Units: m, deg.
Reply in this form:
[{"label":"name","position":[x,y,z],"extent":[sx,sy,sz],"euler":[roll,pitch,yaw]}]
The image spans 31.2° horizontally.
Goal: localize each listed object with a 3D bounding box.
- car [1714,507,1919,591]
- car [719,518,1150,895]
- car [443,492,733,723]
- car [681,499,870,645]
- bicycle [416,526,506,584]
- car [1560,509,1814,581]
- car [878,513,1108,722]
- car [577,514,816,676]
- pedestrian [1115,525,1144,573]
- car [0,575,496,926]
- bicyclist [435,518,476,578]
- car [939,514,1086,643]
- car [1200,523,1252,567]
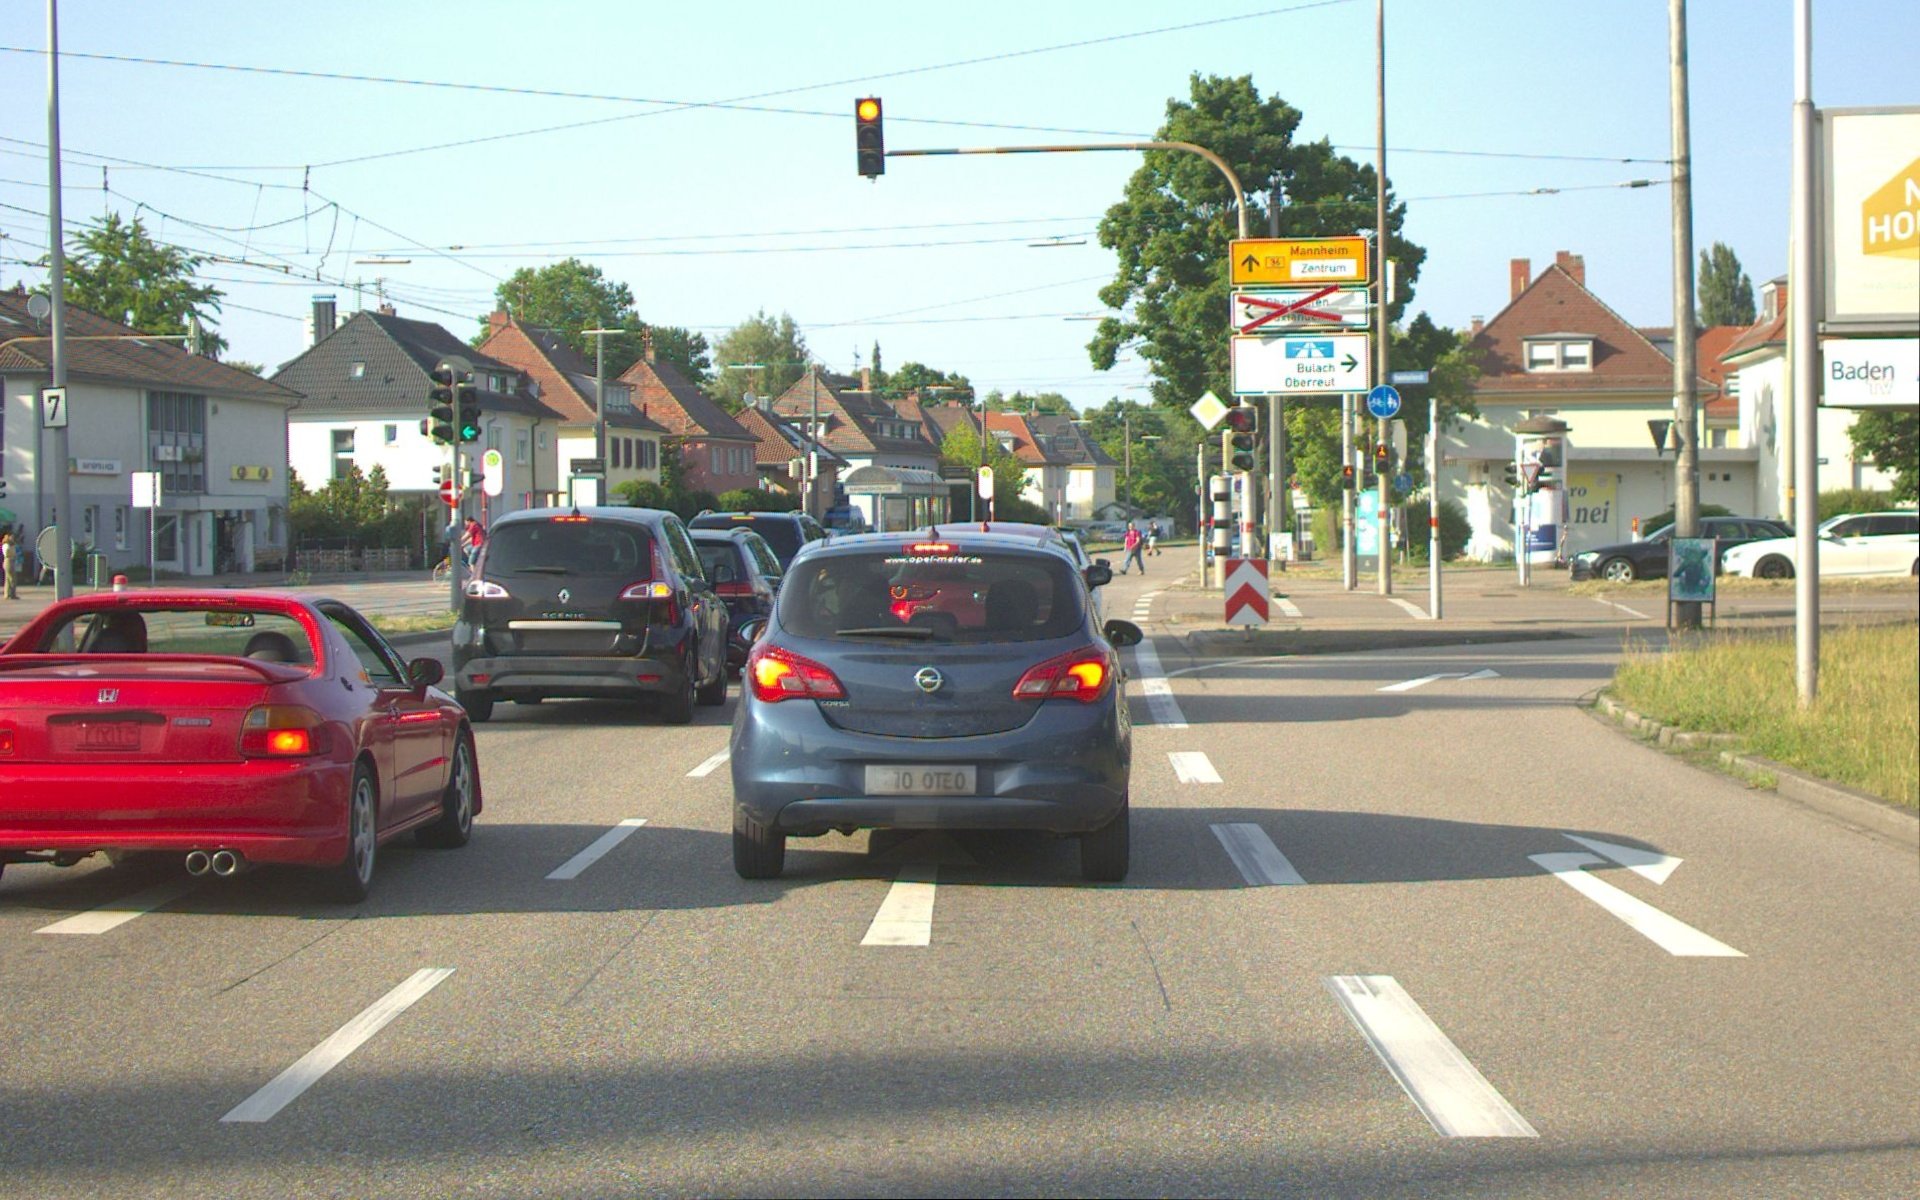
[{"label":"car","position":[17.111,-0.986,65.610],"extent":[5.095,1.557,1.840],"euler":[0,1,5]},{"label":"car","position":[-0.154,0.381,16.037],"extent":[1.741,1.500,4.223],"euler":[0,2,-1]},{"label":"car","position":[-2.818,0.003,26.837],"extent":[1.763,1.665,4.084],"euler":[0,1,1]},{"label":"car","position":[-2.174,-0.377,41.709],"extent":[1.507,1.645,4.743],"euler":[-1,1,6]},{"label":"bicycle","position":[-11.997,-1.084,82.688],"extent":[2.073,1.343,1.109],"euler":[1,0,-5]},{"label":"car","position":[14.647,-1.114,69.438],"extent":[4.824,1.406,1.715],"euler":[0,1,5]},{"label":"car","position":[0.284,0.086,27.778],"extent":[1.706,1.546,3.978],"euler":[-1,1,1]},{"label":"car","position":[-2.563,-0.103,34.446],"extent":[1.700,1.503,4.553],"euler":[0,1,5]},{"label":"pedestrian","position":[5.299,-1.589,107.663],"extent":[0.753,1.494,0.826],"euler":[1,0,12]},{"label":"car","position":[-3.138,0.540,14.594],"extent":[1.731,1.202,3.847],"euler":[1,1,1]},{"label":"bicyclist","position":[-12.128,-1.244,82.667],"extent":[0.884,1.426,1.137],"euler":[1,0,-5]},{"label":"car","position":[0.648,-0.290,40.921],"extent":[1.656,1.438,4.014],"euler":[-1,1,2]},{"label":"car","position":[8.855,-1.815,114.490],"extent":[1.675,1.393,3.999],"euler":[1,1,4]}]
